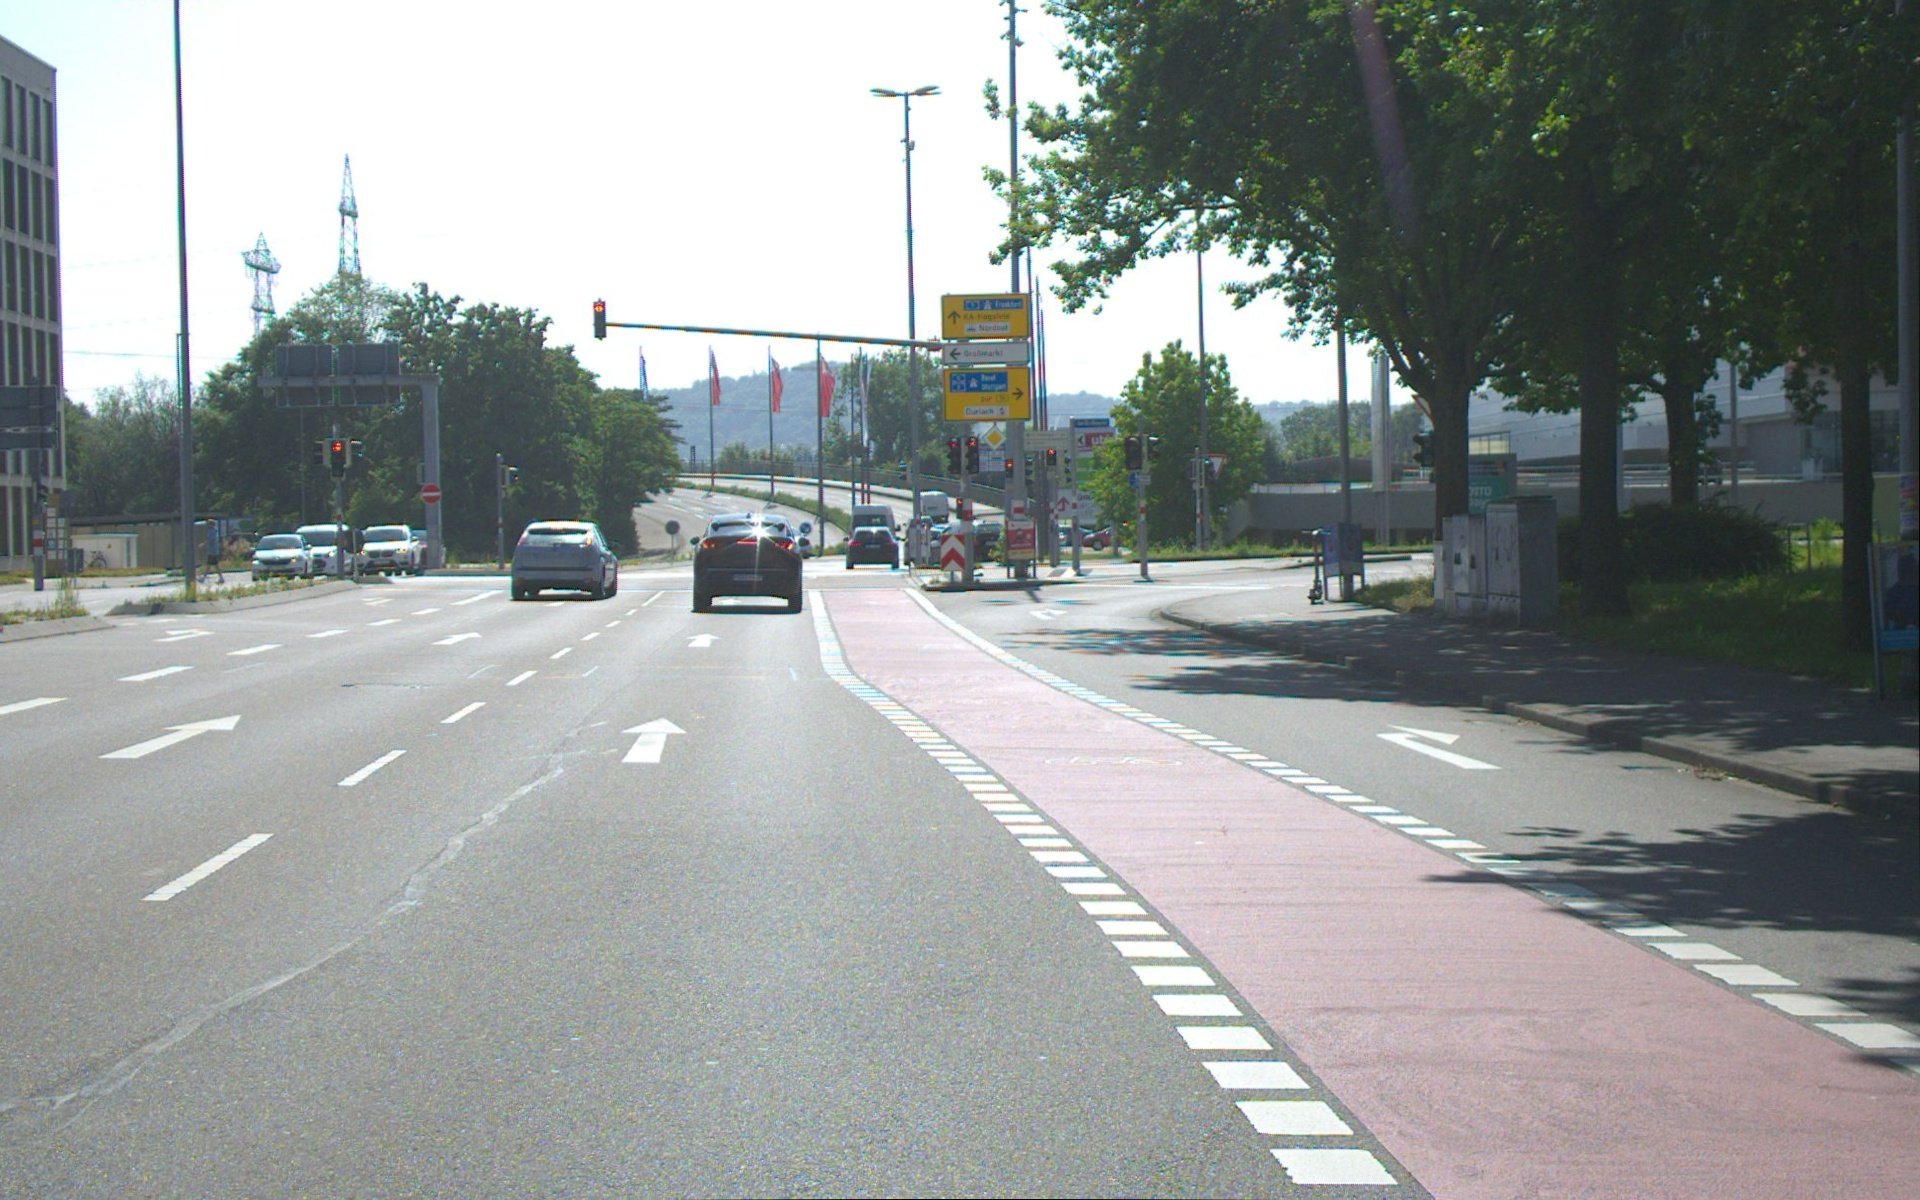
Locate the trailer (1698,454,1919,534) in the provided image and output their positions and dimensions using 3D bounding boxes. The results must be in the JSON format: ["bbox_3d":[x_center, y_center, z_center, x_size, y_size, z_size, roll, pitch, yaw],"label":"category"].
[{"bbox_3d":[30.226,-3.409,111.925,11.872,2.460,2.000,1,2,2],"label":"trailer"}]

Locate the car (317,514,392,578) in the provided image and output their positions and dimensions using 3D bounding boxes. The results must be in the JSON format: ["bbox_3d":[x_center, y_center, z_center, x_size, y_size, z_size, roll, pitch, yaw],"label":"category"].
[{"bbox_3d":[-13.666,-1.232,77.621,1.215,1.326,2.800,1,3,-1],"label":"car"}]

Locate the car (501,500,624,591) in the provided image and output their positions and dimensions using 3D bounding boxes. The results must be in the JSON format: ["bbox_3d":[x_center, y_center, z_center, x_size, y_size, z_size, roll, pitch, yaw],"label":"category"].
[{"bbox_3d":[-7.734,-1.084,67.180,1.993,1.678,4.001,-1,1,-1],"label":"car"}]

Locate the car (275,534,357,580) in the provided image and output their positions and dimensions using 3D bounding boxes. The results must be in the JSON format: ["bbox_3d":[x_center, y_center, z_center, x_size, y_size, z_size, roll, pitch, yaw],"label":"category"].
[{"bbox_3d":[-21.480,-1.451,114.820,1.816,1.459,4.000,-2,1,2],"label":"car"}]

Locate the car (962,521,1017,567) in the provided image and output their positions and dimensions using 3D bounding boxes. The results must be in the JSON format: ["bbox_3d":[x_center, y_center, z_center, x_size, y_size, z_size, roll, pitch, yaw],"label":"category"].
[{"bbox_3d":[0.952,-1.833,112.476,1.689,1.354,4.001,1,3,0],"label":"car"}]

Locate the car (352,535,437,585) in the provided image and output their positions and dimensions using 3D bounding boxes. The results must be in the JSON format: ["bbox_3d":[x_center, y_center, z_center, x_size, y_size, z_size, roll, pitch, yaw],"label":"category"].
[{"bbox_3d":[-17.846,-1.279,108.616,1.816,1.459,4.000,-2,1,2],"label":"car"}]

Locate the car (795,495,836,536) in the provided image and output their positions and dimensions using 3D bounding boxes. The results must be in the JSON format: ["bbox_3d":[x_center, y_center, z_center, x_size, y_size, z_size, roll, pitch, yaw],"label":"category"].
[{"bbox_3d":[-7.434,-4.359,176.888,1.993,2.006,3.982,1,3,-2],"label":"car"}]

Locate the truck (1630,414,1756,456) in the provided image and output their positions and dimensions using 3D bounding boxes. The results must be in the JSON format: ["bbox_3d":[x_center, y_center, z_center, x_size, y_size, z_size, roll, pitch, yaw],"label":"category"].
[{"bbox_3d":[37.060,-8.331,173.840,5.909,2.006,2.000,1,2,0],"label":"truck"}]

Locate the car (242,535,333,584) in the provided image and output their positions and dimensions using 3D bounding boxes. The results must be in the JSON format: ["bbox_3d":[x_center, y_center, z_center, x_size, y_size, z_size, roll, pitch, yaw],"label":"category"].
[{"bbox_3d":[-20.973,-1.278,107.339,1.892,1.459,4.000,-2,1,2],"label":"car"}]

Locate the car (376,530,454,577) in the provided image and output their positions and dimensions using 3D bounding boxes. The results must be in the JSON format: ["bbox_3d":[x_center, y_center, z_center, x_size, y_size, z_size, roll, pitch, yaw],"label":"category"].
[{"bbox_3d":[-18.293,-1.576,115.576,1.816,1.459,4.000,-2,1,2],"label":"car"}]

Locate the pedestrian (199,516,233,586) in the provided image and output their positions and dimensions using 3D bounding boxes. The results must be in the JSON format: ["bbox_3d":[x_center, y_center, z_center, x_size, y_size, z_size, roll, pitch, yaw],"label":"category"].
[{"bbox_3d":[-21.705,-1.434,100.272,0.756,2.006,0.934,0,3,-27],"label":"pedestrian"}]

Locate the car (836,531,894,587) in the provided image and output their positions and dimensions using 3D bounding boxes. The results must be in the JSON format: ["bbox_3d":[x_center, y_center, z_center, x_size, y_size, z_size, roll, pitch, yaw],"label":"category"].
[{"bbox_3d":[-3.307,-1.431,118.671,1.757,1.752,3.604,1,3,-5],"label":"car"}]

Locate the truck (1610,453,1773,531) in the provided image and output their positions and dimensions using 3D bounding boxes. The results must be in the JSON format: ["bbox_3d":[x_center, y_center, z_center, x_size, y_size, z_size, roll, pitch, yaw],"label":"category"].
[{"bbox_3d":[23.838,-3.532,112.181,4.881,2.415,2.000,1,2,2],"label":"truck"}]

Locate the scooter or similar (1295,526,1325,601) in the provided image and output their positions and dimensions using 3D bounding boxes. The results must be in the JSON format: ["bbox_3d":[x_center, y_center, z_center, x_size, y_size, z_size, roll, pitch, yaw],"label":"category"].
[{"bbox_3d":[5.847,-0.616,57.423,0.351,1.229,1.310,-1,1,11],"label":"scooter or similar"}]

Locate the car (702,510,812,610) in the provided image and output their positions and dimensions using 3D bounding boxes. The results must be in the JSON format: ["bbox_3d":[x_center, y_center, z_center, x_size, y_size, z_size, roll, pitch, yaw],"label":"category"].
[{"bbox_3d":[-3.529,-0.727,59.729,1.807,1.634,4.459,-1,2,-3],"label":"car"}]
